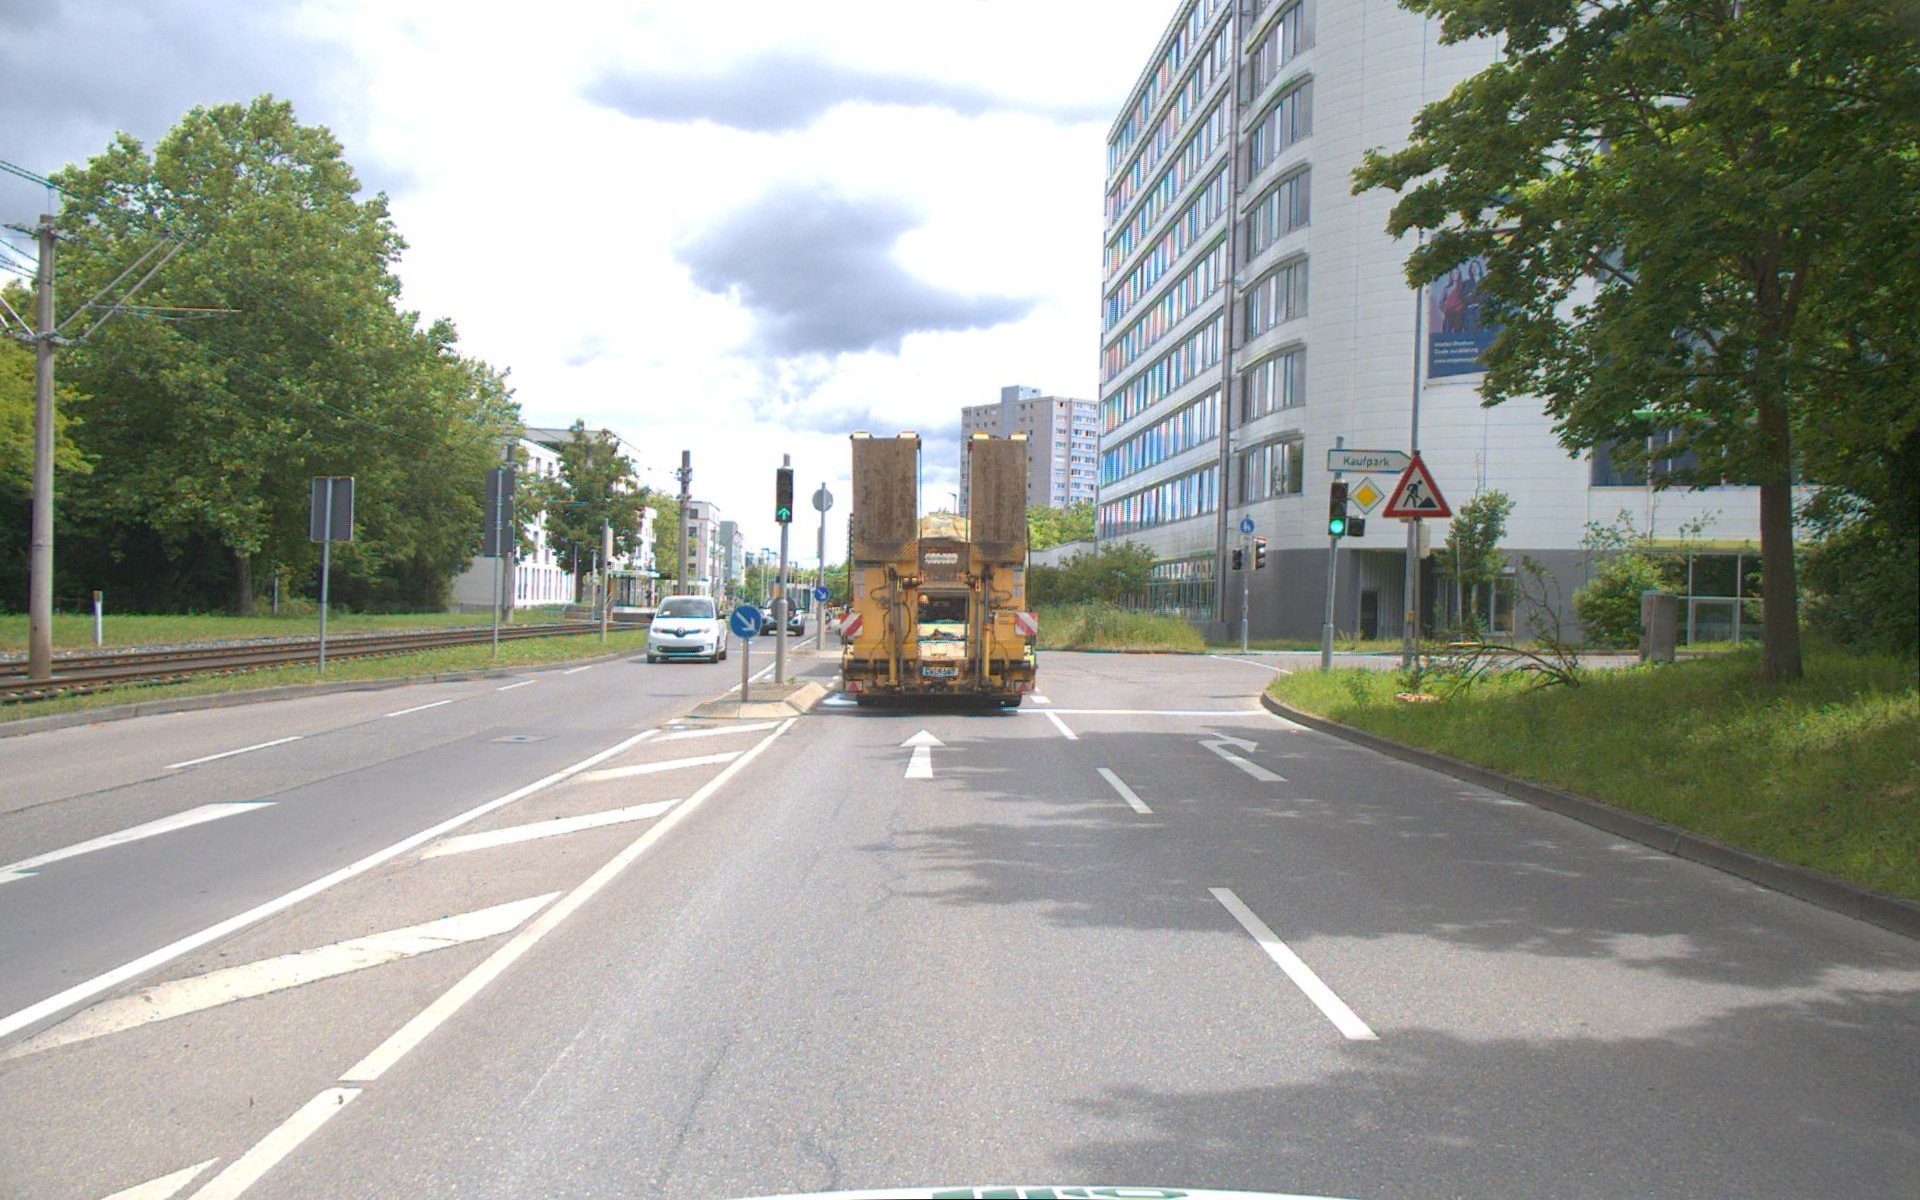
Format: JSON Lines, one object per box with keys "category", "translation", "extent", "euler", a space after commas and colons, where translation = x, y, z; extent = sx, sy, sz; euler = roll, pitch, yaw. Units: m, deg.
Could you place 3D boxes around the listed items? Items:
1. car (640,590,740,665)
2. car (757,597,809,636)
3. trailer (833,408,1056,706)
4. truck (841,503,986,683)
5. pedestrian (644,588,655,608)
{"category": "car", "translation": [-6.364, 0.654, 39.390], "extent": [1.693, 1.640, 4.262], "euler": [2, -1, -1]}
{"category": "car", "translation": [-7.902, 0.724, 74.238], "extent": [1.822, 1.638, 4.607], "euler": [1, 0, -1]}
{"category": "trailer", "translation": [-0.514, -0.469, 26.113], "extent": [2.675, 3.621, 11.245], "euler": [2, -1, -3]}
{"category": "truck", "translation": [-1.092, -0.092, 35.877], "extent": [2.698, 3.371, 8.346], "euler": [2, -1, -3]}
{"category": "pedestrian", "translation": [-25.091, -0.156, 133.817], "extent": [0.726, 1.558, 0.547], "euler": [2, -1, 0]}
